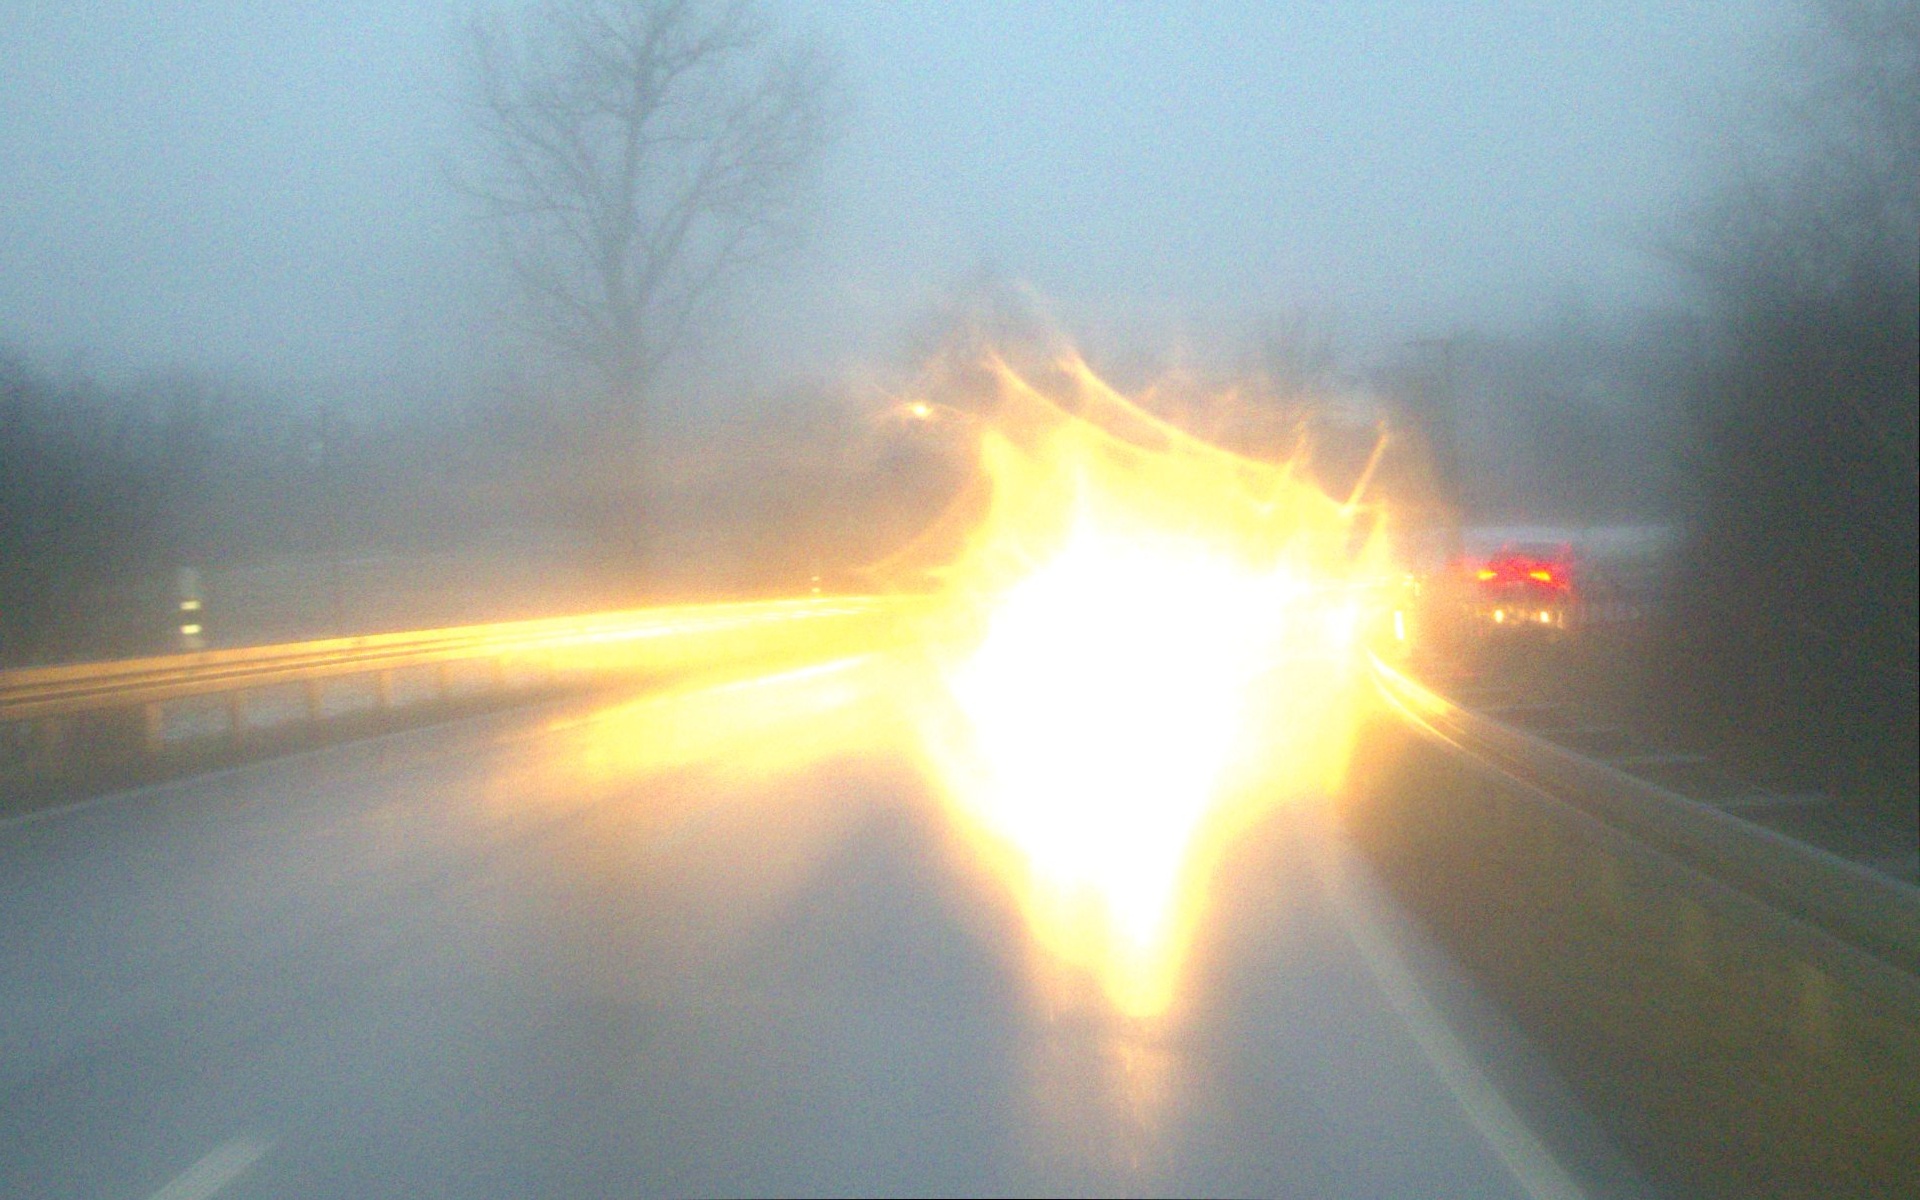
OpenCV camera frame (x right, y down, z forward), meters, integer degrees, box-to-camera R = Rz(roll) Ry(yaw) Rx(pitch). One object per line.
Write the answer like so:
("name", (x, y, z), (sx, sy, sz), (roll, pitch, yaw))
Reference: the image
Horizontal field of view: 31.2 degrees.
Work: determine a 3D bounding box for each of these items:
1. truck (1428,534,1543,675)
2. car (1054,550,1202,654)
("truck", (12.540, 0.055, 81.923), (2.533, 2.859, 5.921), (-2, 4, 9))
("car", (2.866, -0.003, 57.500), (2.011, 1.629, 4.872), (0, 1, 8))
